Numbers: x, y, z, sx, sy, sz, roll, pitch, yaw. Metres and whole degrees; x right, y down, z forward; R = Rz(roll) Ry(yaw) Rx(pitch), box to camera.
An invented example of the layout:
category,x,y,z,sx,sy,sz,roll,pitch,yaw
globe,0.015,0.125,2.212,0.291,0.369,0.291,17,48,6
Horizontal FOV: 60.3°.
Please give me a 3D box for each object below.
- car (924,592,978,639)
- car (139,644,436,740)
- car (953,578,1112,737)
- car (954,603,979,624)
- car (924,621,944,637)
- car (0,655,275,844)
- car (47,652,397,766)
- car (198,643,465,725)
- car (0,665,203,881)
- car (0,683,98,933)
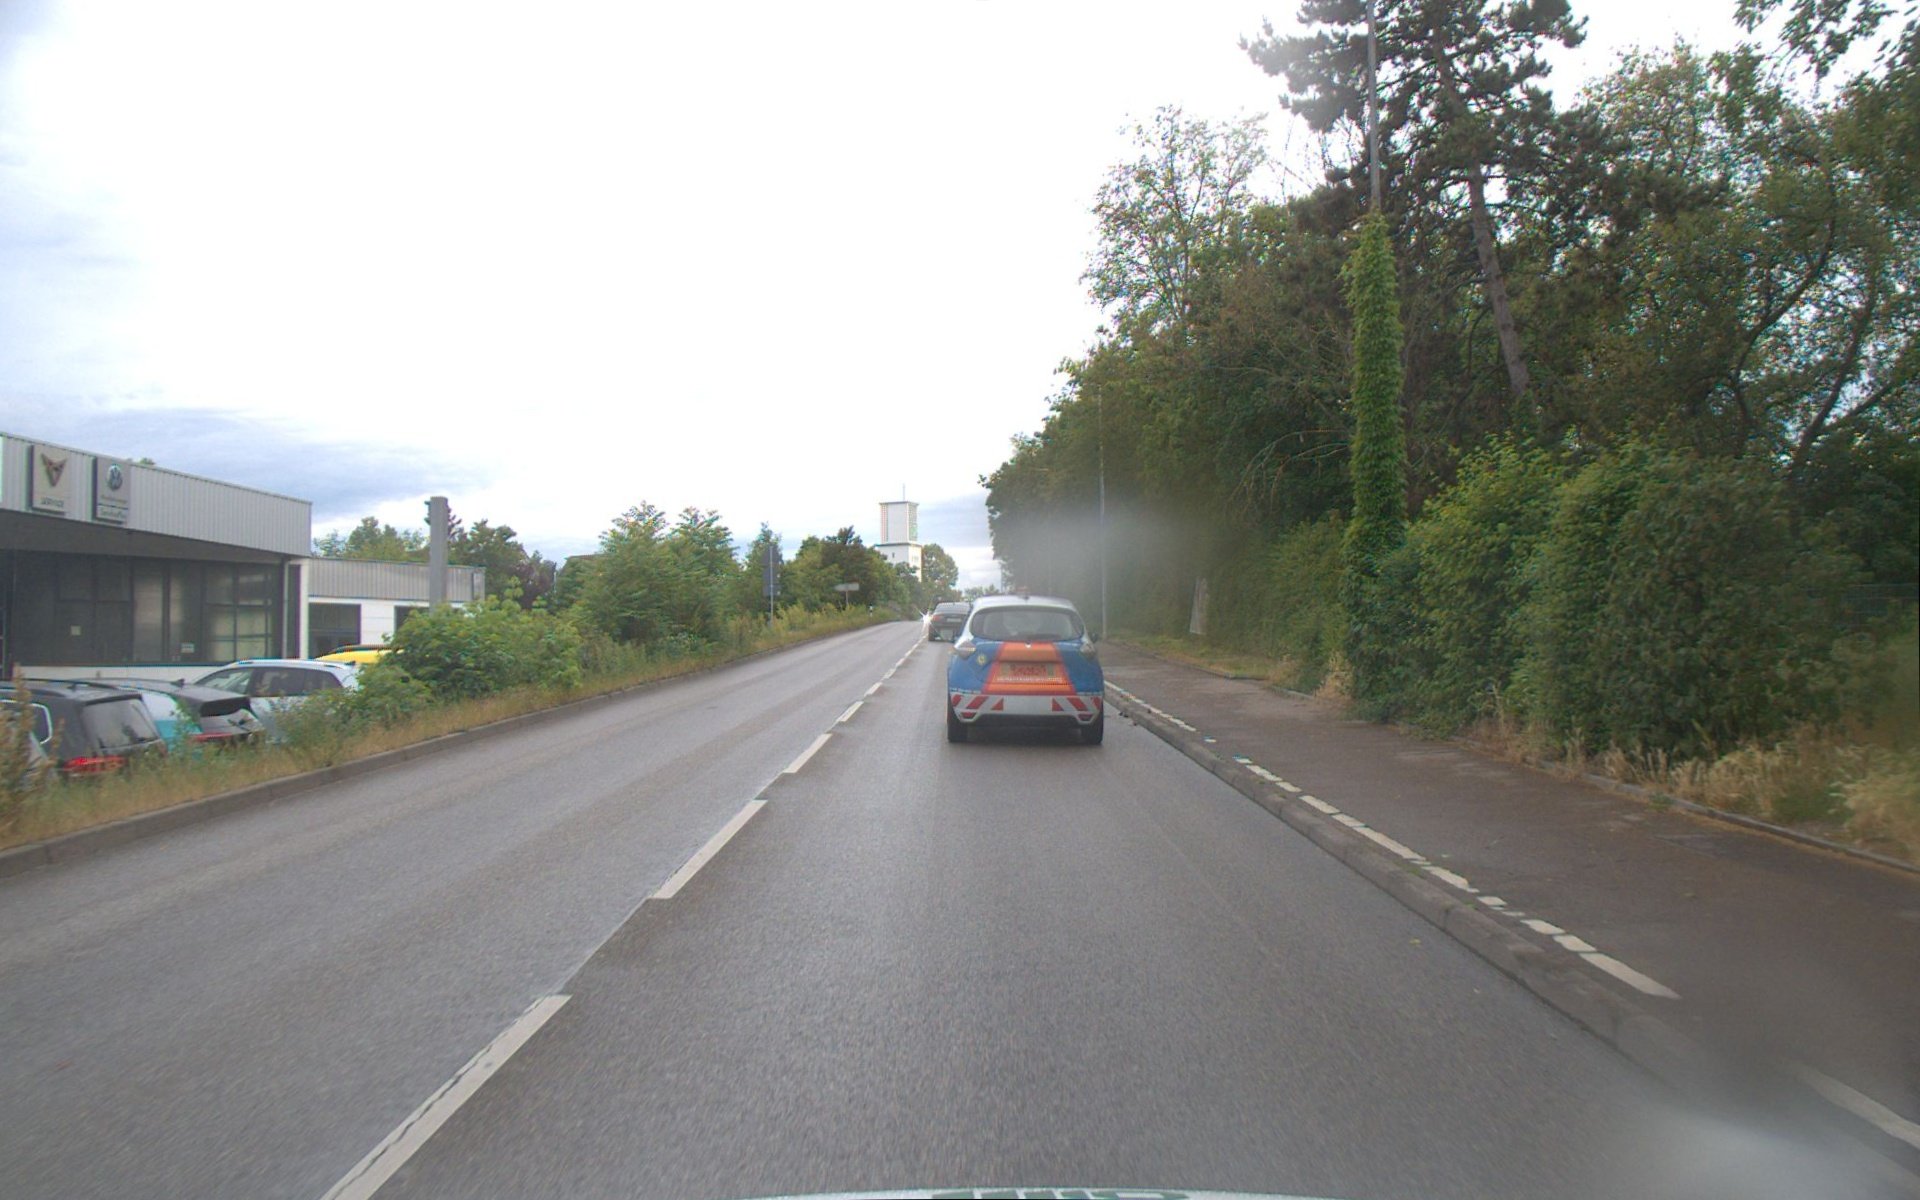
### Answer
category,x,y,z,sx,sy,sz,roll,pitch,yaw
car,-0.355,0.578,60.477,1.766,1.618,3.560,-2,-1,-3
car,-10.628,1.434,26.362,3.982,1.313,1.803,-1,0,-4
car,0.742,0.634,18.741,1.623,1.621,3.568,0,-1,0
car,0.457,0.963,119.470,1.582,1.432,3.495,-2,-1,-3
car,-2.889,3.280,186.998,1.829,1.613,4.417,2,0,4
car,-9.919,1.595,17.958,4.142,1.829,1.873,-1,0,-4
car,-10.464,1.523,23.712,4.142,1.392,1.873,-1,0,-4
car,-10.924,1.444,28.976,3.982,1.232,1.803,-1,0,-4
car,-9.692,1.622,15.650,4.142,1.829,1.873,-1,0,-4
car,-9.558,1.683,13.131,4.325,1.829,2.001,-1,0,-4
